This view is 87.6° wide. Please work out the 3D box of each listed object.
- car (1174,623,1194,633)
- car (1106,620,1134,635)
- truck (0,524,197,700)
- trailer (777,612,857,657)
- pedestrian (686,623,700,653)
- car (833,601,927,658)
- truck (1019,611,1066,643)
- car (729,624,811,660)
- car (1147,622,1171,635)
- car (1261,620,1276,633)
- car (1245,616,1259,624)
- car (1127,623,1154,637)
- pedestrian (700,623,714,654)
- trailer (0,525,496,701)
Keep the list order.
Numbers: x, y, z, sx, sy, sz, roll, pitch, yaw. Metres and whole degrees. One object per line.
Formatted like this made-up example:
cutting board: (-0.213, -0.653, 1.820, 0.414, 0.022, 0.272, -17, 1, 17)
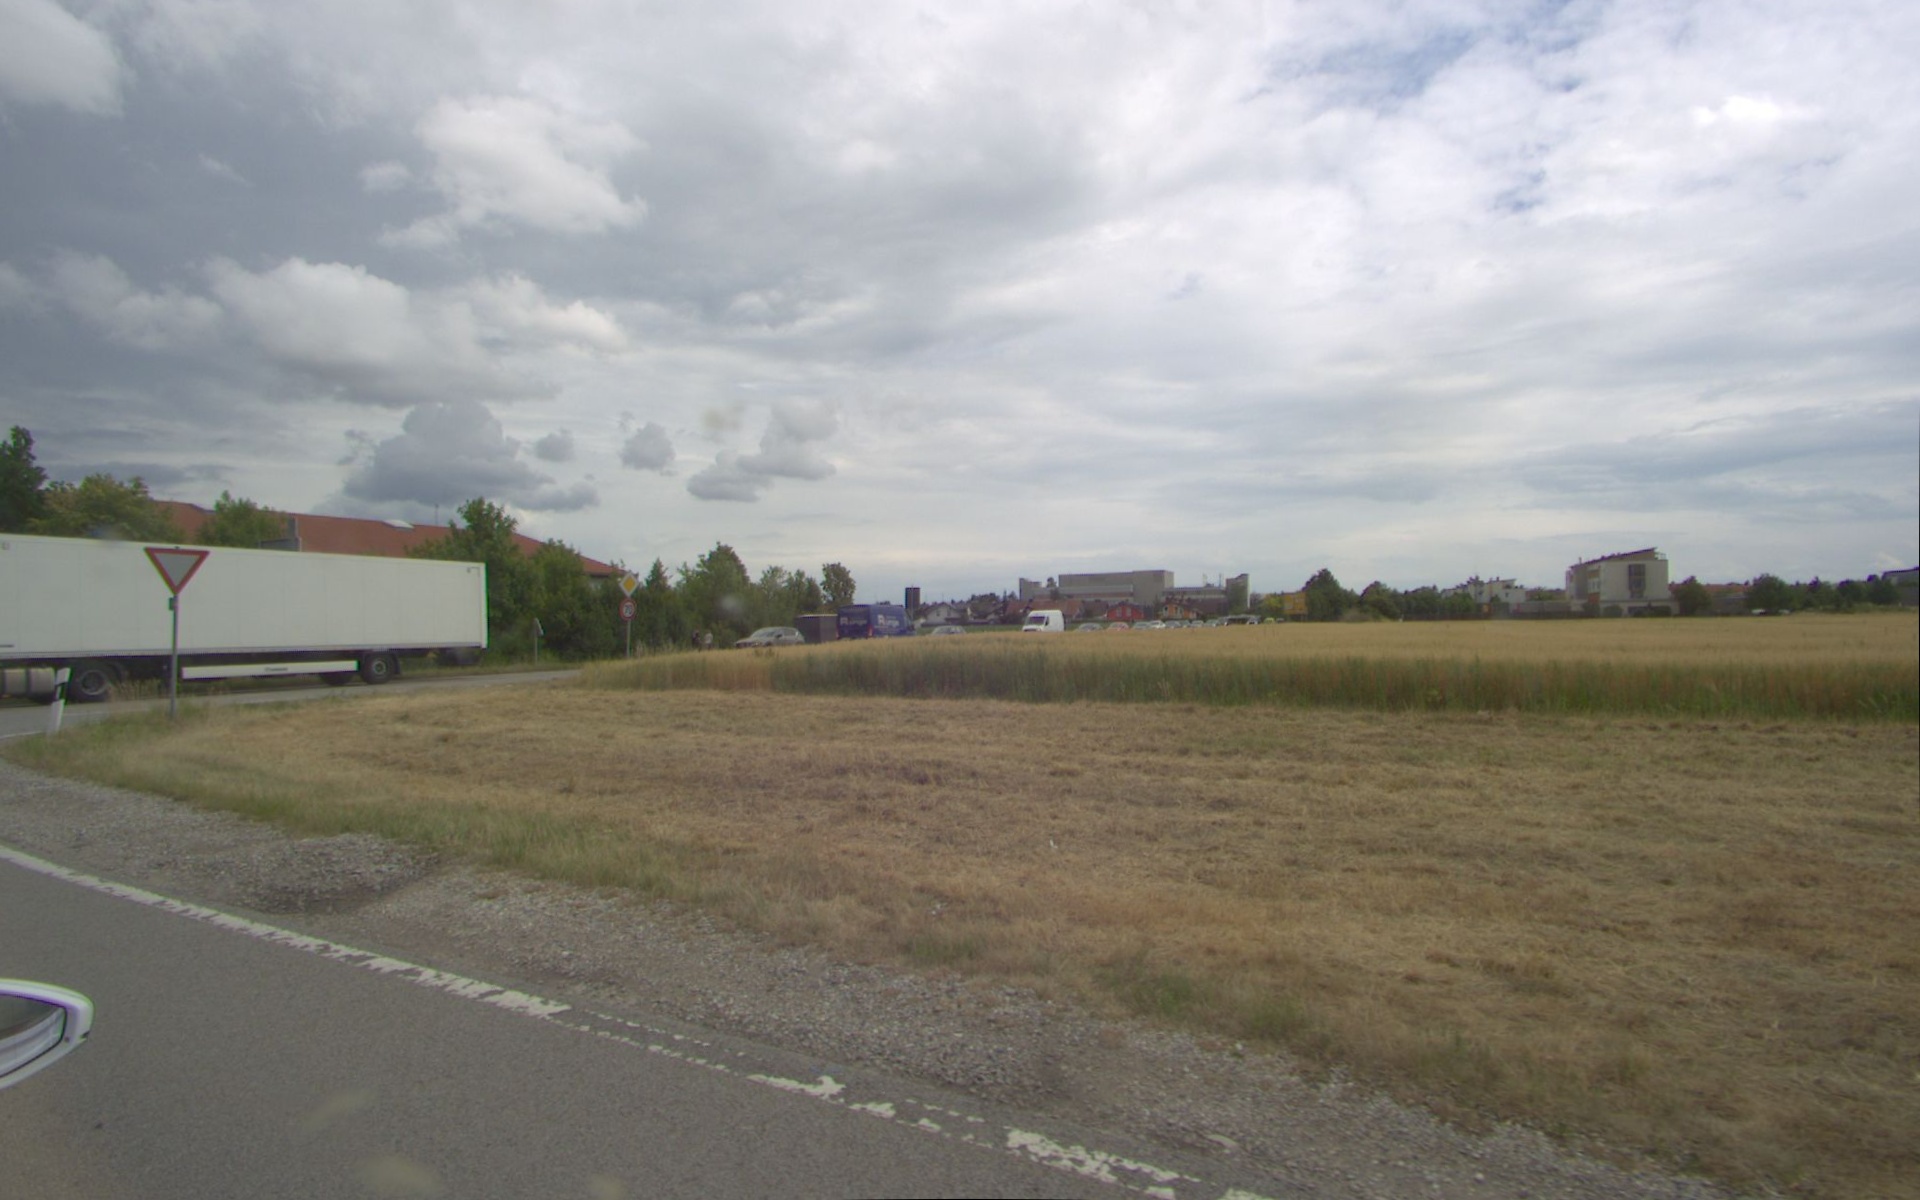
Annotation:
car: (29.209, 3.679, 130.382, 1.826, 1.287, 3.518, -1, -1, 25)
car: (16.609, 2.823, 103.690, 1.826, 1.485, 3.986, -1, -1, 26)
truck: (-23.344, 0.349, 24.108, 3.079, 4.065, 7.284, -2, -2, 25)
trailer: (-7.885, 1.870, 55.565, 2.378, 2.322, 4.383, -2, -1, 24)
pedestrian: (-15.304, 2.184, 57.387, 0.521, 1.705, 0.626, 0, 1, 21)
car: (-3.881, 1.394, 49.879, 2.115, 2.674, 5.549, 0, 0, 27)
truck: (7.086, 2.276, 85.217, 1.968, 2.608, 5.997, -2, -2, 25)
car: (-9.709, 2.121, 51.483, 1.967, 1.704, 4.466, -2, -1, 23)
car: (23.320, 3.332, 117.171, 1.826, 1.485, 3.987, -1, -1, 25)
car: (52.392, 4.491, 169.953, 1.966, 1.915, 3.989, 0, 0, 22)
car: (52.262, 3.570, 179.049, 1.826, 1.287, 3.518, -1, -1, 25)
car: (19.821, 3.311, 109.825, 1.826, 1.485, 3.986, -1, -1, 26)
pedestrian: (-14.401, 2.181, 57.078, 0.521, 1.705, 0.626, 0, 1, 21)
trailer: (-20.725, 0.475, 29.696, 3.079, 4.065, 13.843, -2, -2, 25)
